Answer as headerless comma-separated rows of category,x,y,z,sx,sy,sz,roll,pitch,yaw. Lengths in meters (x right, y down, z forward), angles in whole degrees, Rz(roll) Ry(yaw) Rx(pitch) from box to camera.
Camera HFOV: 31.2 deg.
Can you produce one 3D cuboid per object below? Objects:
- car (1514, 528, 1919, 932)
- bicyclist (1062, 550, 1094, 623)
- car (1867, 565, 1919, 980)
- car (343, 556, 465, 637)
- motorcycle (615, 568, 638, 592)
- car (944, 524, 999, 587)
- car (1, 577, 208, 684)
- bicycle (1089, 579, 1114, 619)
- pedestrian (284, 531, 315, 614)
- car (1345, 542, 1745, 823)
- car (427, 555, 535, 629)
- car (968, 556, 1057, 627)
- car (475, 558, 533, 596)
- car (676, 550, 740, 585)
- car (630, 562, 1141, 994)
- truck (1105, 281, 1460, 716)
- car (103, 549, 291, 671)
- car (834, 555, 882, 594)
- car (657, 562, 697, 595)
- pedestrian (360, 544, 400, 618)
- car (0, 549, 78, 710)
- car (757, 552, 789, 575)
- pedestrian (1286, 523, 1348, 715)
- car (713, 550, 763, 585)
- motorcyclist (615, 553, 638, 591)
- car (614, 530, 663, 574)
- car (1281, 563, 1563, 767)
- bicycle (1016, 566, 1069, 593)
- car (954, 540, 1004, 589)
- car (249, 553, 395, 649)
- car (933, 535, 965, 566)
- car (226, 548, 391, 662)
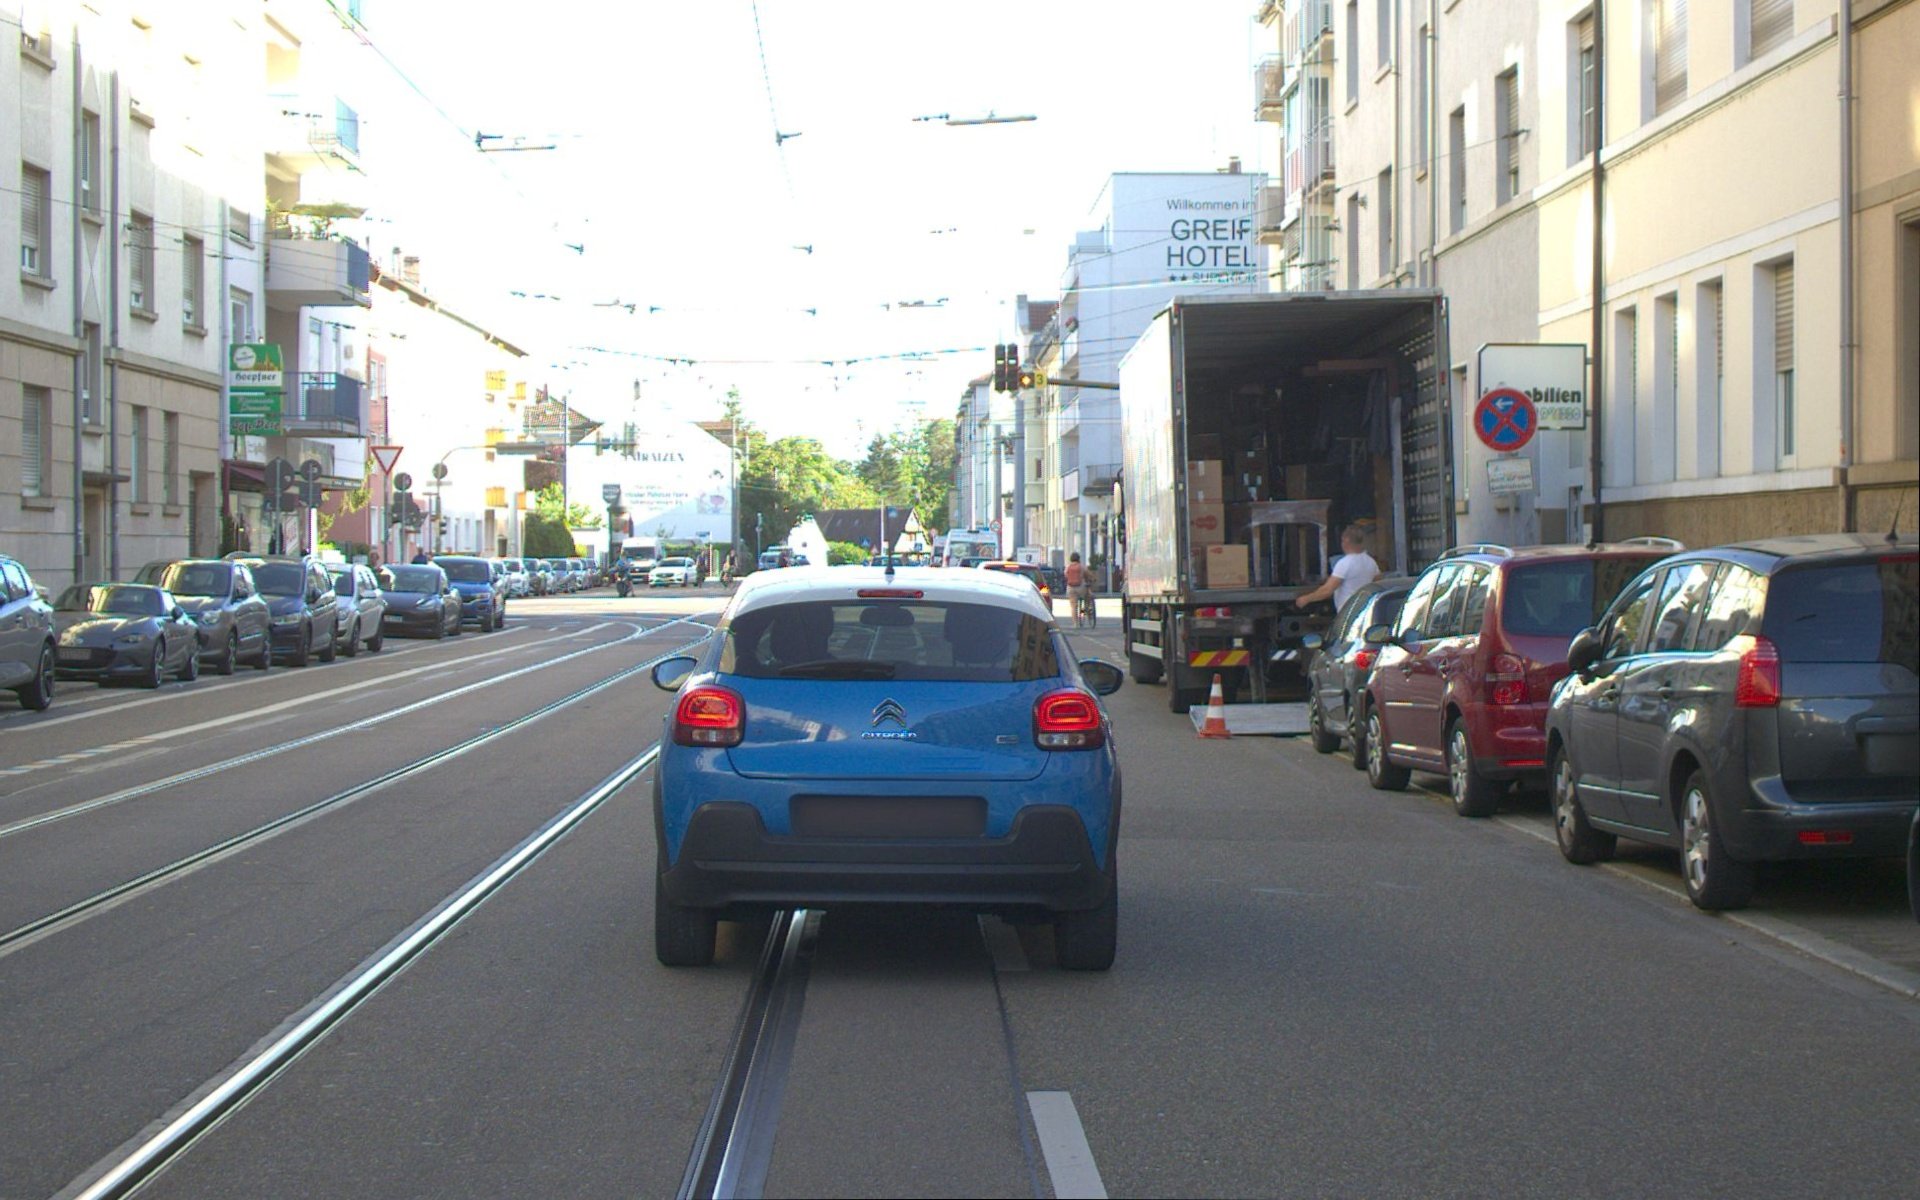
car,3.994,0.496,16.403,1.789,1.646,4.367,-1,1,-2
bicyclist,2.665,-0.316,77.708,0.726,1.640,0.790,0,1,2
car,4.177,0.612,10.976,1.608,1.458,3.480,-1,1,0
car,-10.885,-0.079,67.547,1.699,1.504,4.312,2,0,-1
motorcycle,-12.163,-0.727,125.482,0.615,0.861,1.671,0,1,2
car,0.419,-1.674,130.042,1.993,2.317,4.000,1,0,-1
car,-10.465,0.352,42.293,1.699,1.211,3.786,2,0,-2
bicycle,3.197,-0.028,77.735,0.498,0.861,1.749,0,1,0
pedestrian,-16.060,-0.675,83.635,0.686,2.007,0.486,0,1,-3
car,3.670,0.451,22.270,1.591,1.603,4.247,-1,1,-3
car,-10.230,-0.177,73.639,1.744,1.504,4.000,2,0,-1
car,1.112,-0.190,71.043,1.738,1.415,4.000,0,1,2
car,-18.245,-0.927,137.682,1.911,1.492,4.000,0,1,-2
car,-12.090,-1.568,164.674,1.808,1.634,4.001,-1,1,-23
car,-0.387,0.599,13.934,1.743,1.457,4.001,1,1,-4
truck,3.285,-1.047,38.244,2.860,4.059,11.779,-1,1,0
car,-10.501,0.128,47.545,1.699,1.564,4.000,2,0,-1
car,-4.423,-1.102,149.303,1.993,1.612,4.000,1,0,-1
car,-13.968,-1.085,170.011,1.849,1.568,4.402,0,1,-3
pedestrian,-12.362,-0.409,73.334,0.697,1.543,0.721,0,1,2
car,-10.206,0.281,34.309,1.699,1.562,4.406,0,1,0
car,-12.372,-2.443,227.723,2.021,1.520,4.000,0,1,-2
pedestrian,3.332,0.175,32.080,0.512,1.769,0.416,-1,1,-1
car,-9.734,-1.451,151.006,1.993,1.503,4.000,0,1,-1
motorcyclist,-12.159,-1.011,125.324,0.719,1.373,0.911,0,1,3
car,-16.756,-2.511,179.441,2.207,2.243,4.677,0,1,-2
car,3.613,0.461,27.467,1.582,1.458,3.881,-1,1,-2
bicycle,2.987,-0.753,124.532,1.874,0.953,0.701,0,1,4
car,0.671,-1.284,125.113,1.732,1.744,3.214,1,0,-1
car,-10.640,0.003,57.597,1.699,1.504,4.387,2,0,-1
car,-0.608,-2.716,188.987,1.689,1.612,4.000,1,0,0
car,-9.806,0.067,52.016,1.699,1.610,4.244,2,0,-1
